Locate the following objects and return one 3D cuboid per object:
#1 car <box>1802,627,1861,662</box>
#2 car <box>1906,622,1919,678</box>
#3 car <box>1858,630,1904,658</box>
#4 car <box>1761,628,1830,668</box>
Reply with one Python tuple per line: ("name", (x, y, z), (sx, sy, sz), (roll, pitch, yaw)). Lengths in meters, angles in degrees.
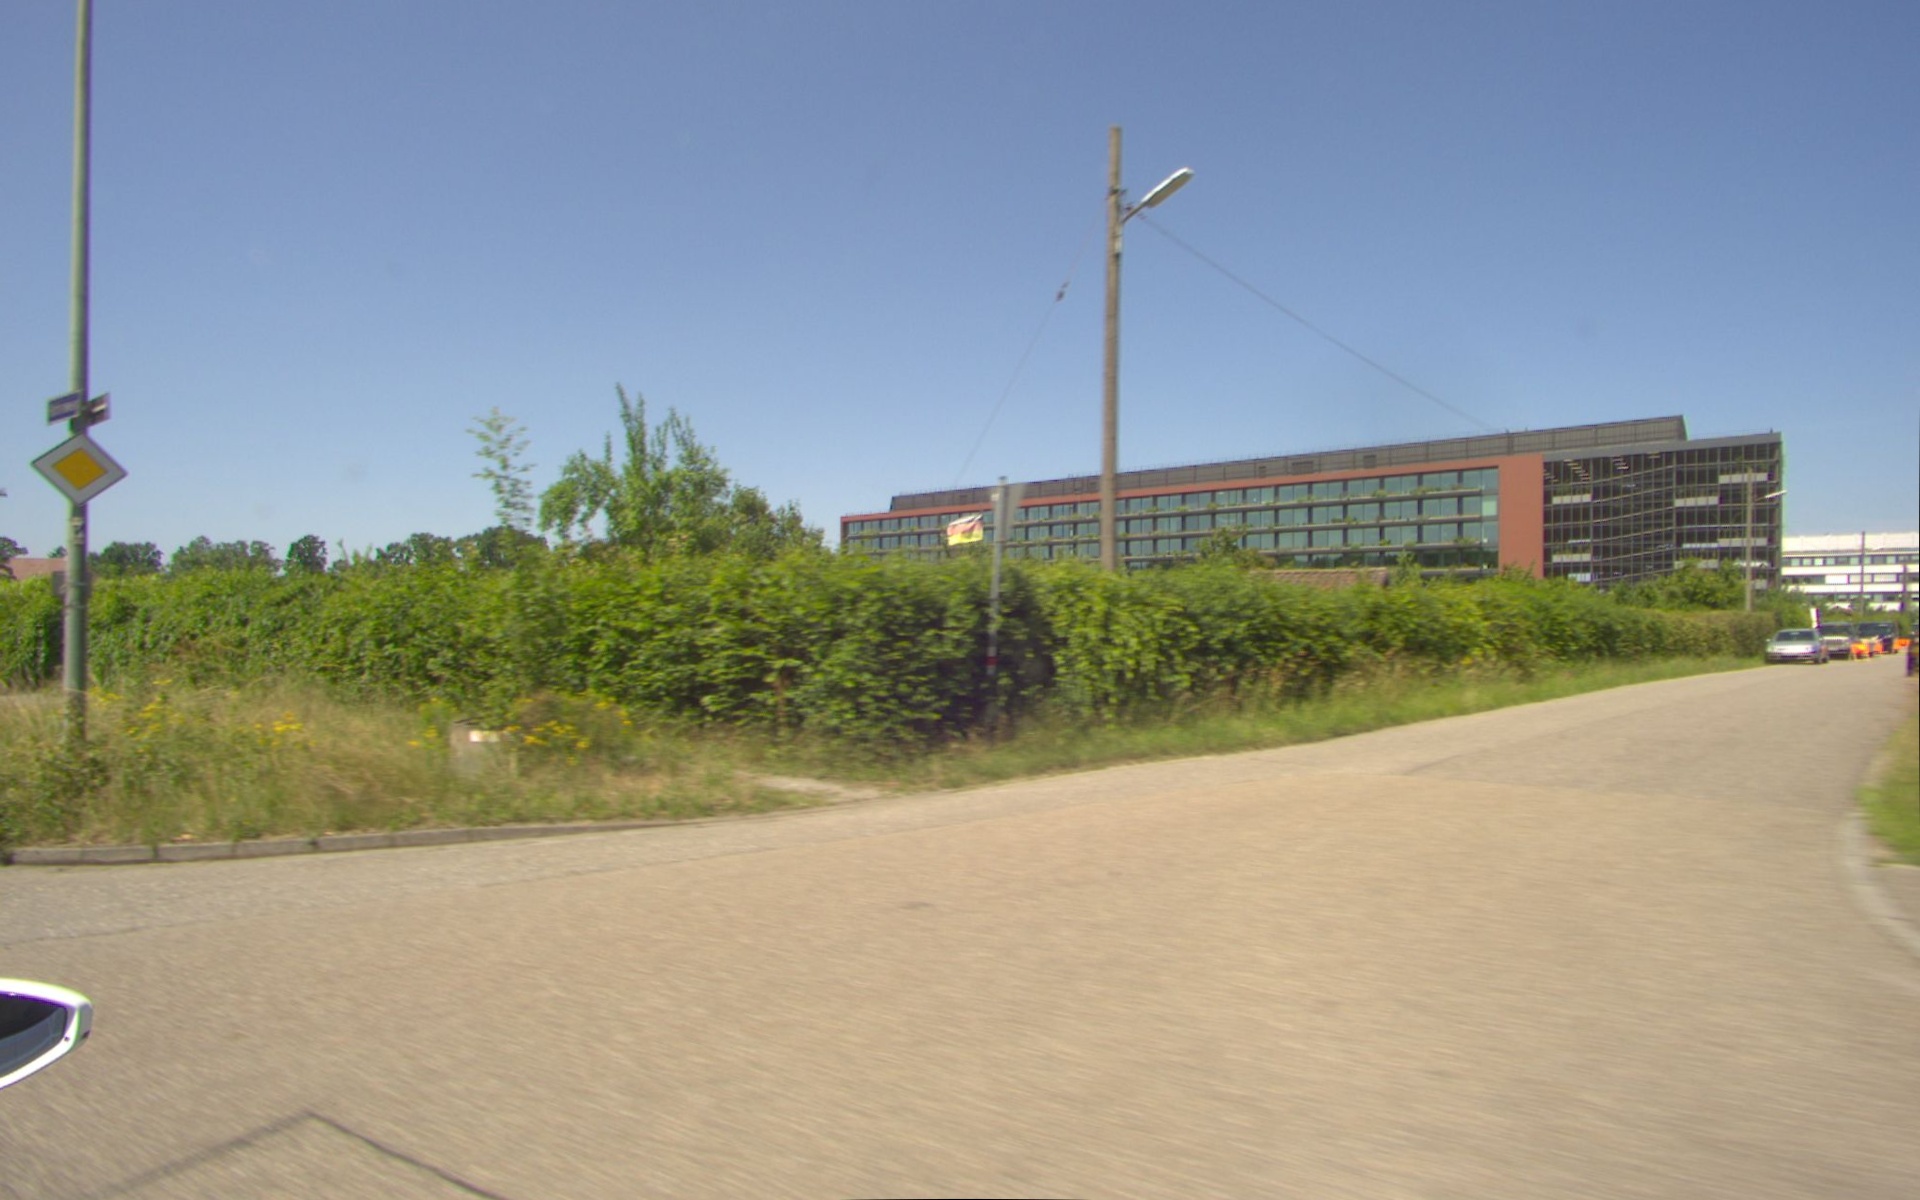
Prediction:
("car", (40.976, 2.036, 47.023), (1.832, 1.557, 4.427), (-1, -2, 44))
("car", (28.764, 1.419, 29.040), (1.832, 1.557, 4.427), (-1, -2, 44))
("car", (53.873, 2.533, 58.547), (1.832, 1.557, 4.427), (-1, -2, 44))
("car", (34.151, 1.911, 40.899), (1.832, 1.557, 4.427), (-1, -2, 44))
